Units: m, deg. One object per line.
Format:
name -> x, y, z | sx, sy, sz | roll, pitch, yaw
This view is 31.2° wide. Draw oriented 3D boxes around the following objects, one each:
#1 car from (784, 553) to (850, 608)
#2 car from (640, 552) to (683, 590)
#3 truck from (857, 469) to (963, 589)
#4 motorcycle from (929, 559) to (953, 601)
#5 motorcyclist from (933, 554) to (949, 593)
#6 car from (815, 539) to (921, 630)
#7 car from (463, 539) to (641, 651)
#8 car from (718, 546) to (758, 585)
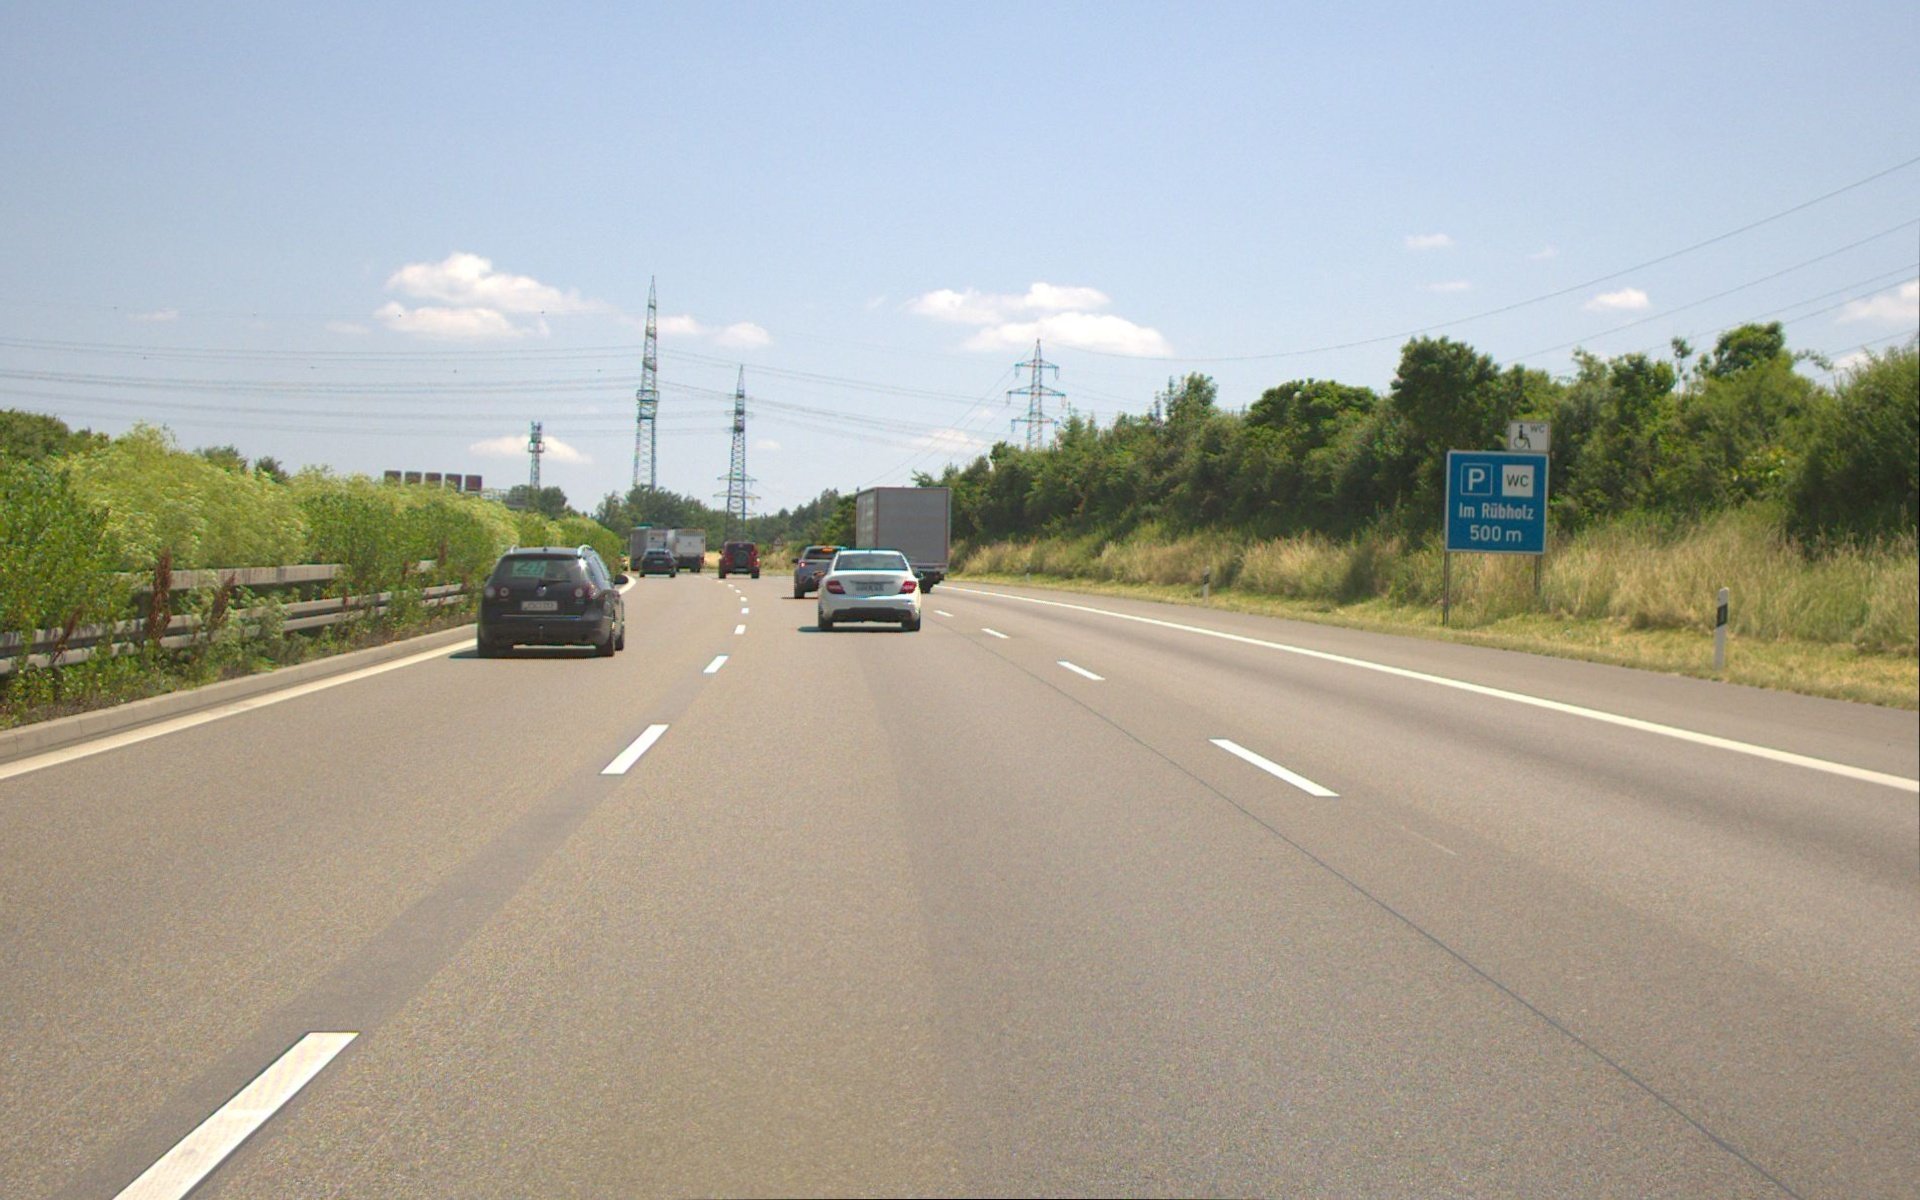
car -> -4.115, -0.572, 99.299 | 1.838, 1.535, 3.915 | 0, 1, -1
car -> -15.151, -1.489, 174.620 | 1.993, 1.853, 4.001 | 0, 1, -2
truck -> -1.780, -2.378, 117.726 | 3.221, 3.911, 9.062 | 1, 0, -3
motorcycle -> -0.733, -0.790, 132.605 | 0.809, 1.602, 1.782 | 1, 0, -3
motorcyclist -> -0.731, -1.026, 132.472 | 0.572, 1.474, 0.700 | 0, 1, -3
car -> -1.626, -0.302, 60.939 | 1.819, 1.535, 3.915 | 0, 1, -1
car -> -5.424, -0.096, 46.137 | 1.756, 1.424, 4.000 | 0, 1, 2
car -> -11.085, -1.724, 171.232 | 1.901, 1.919, 4.001 | 0, 1, -5
